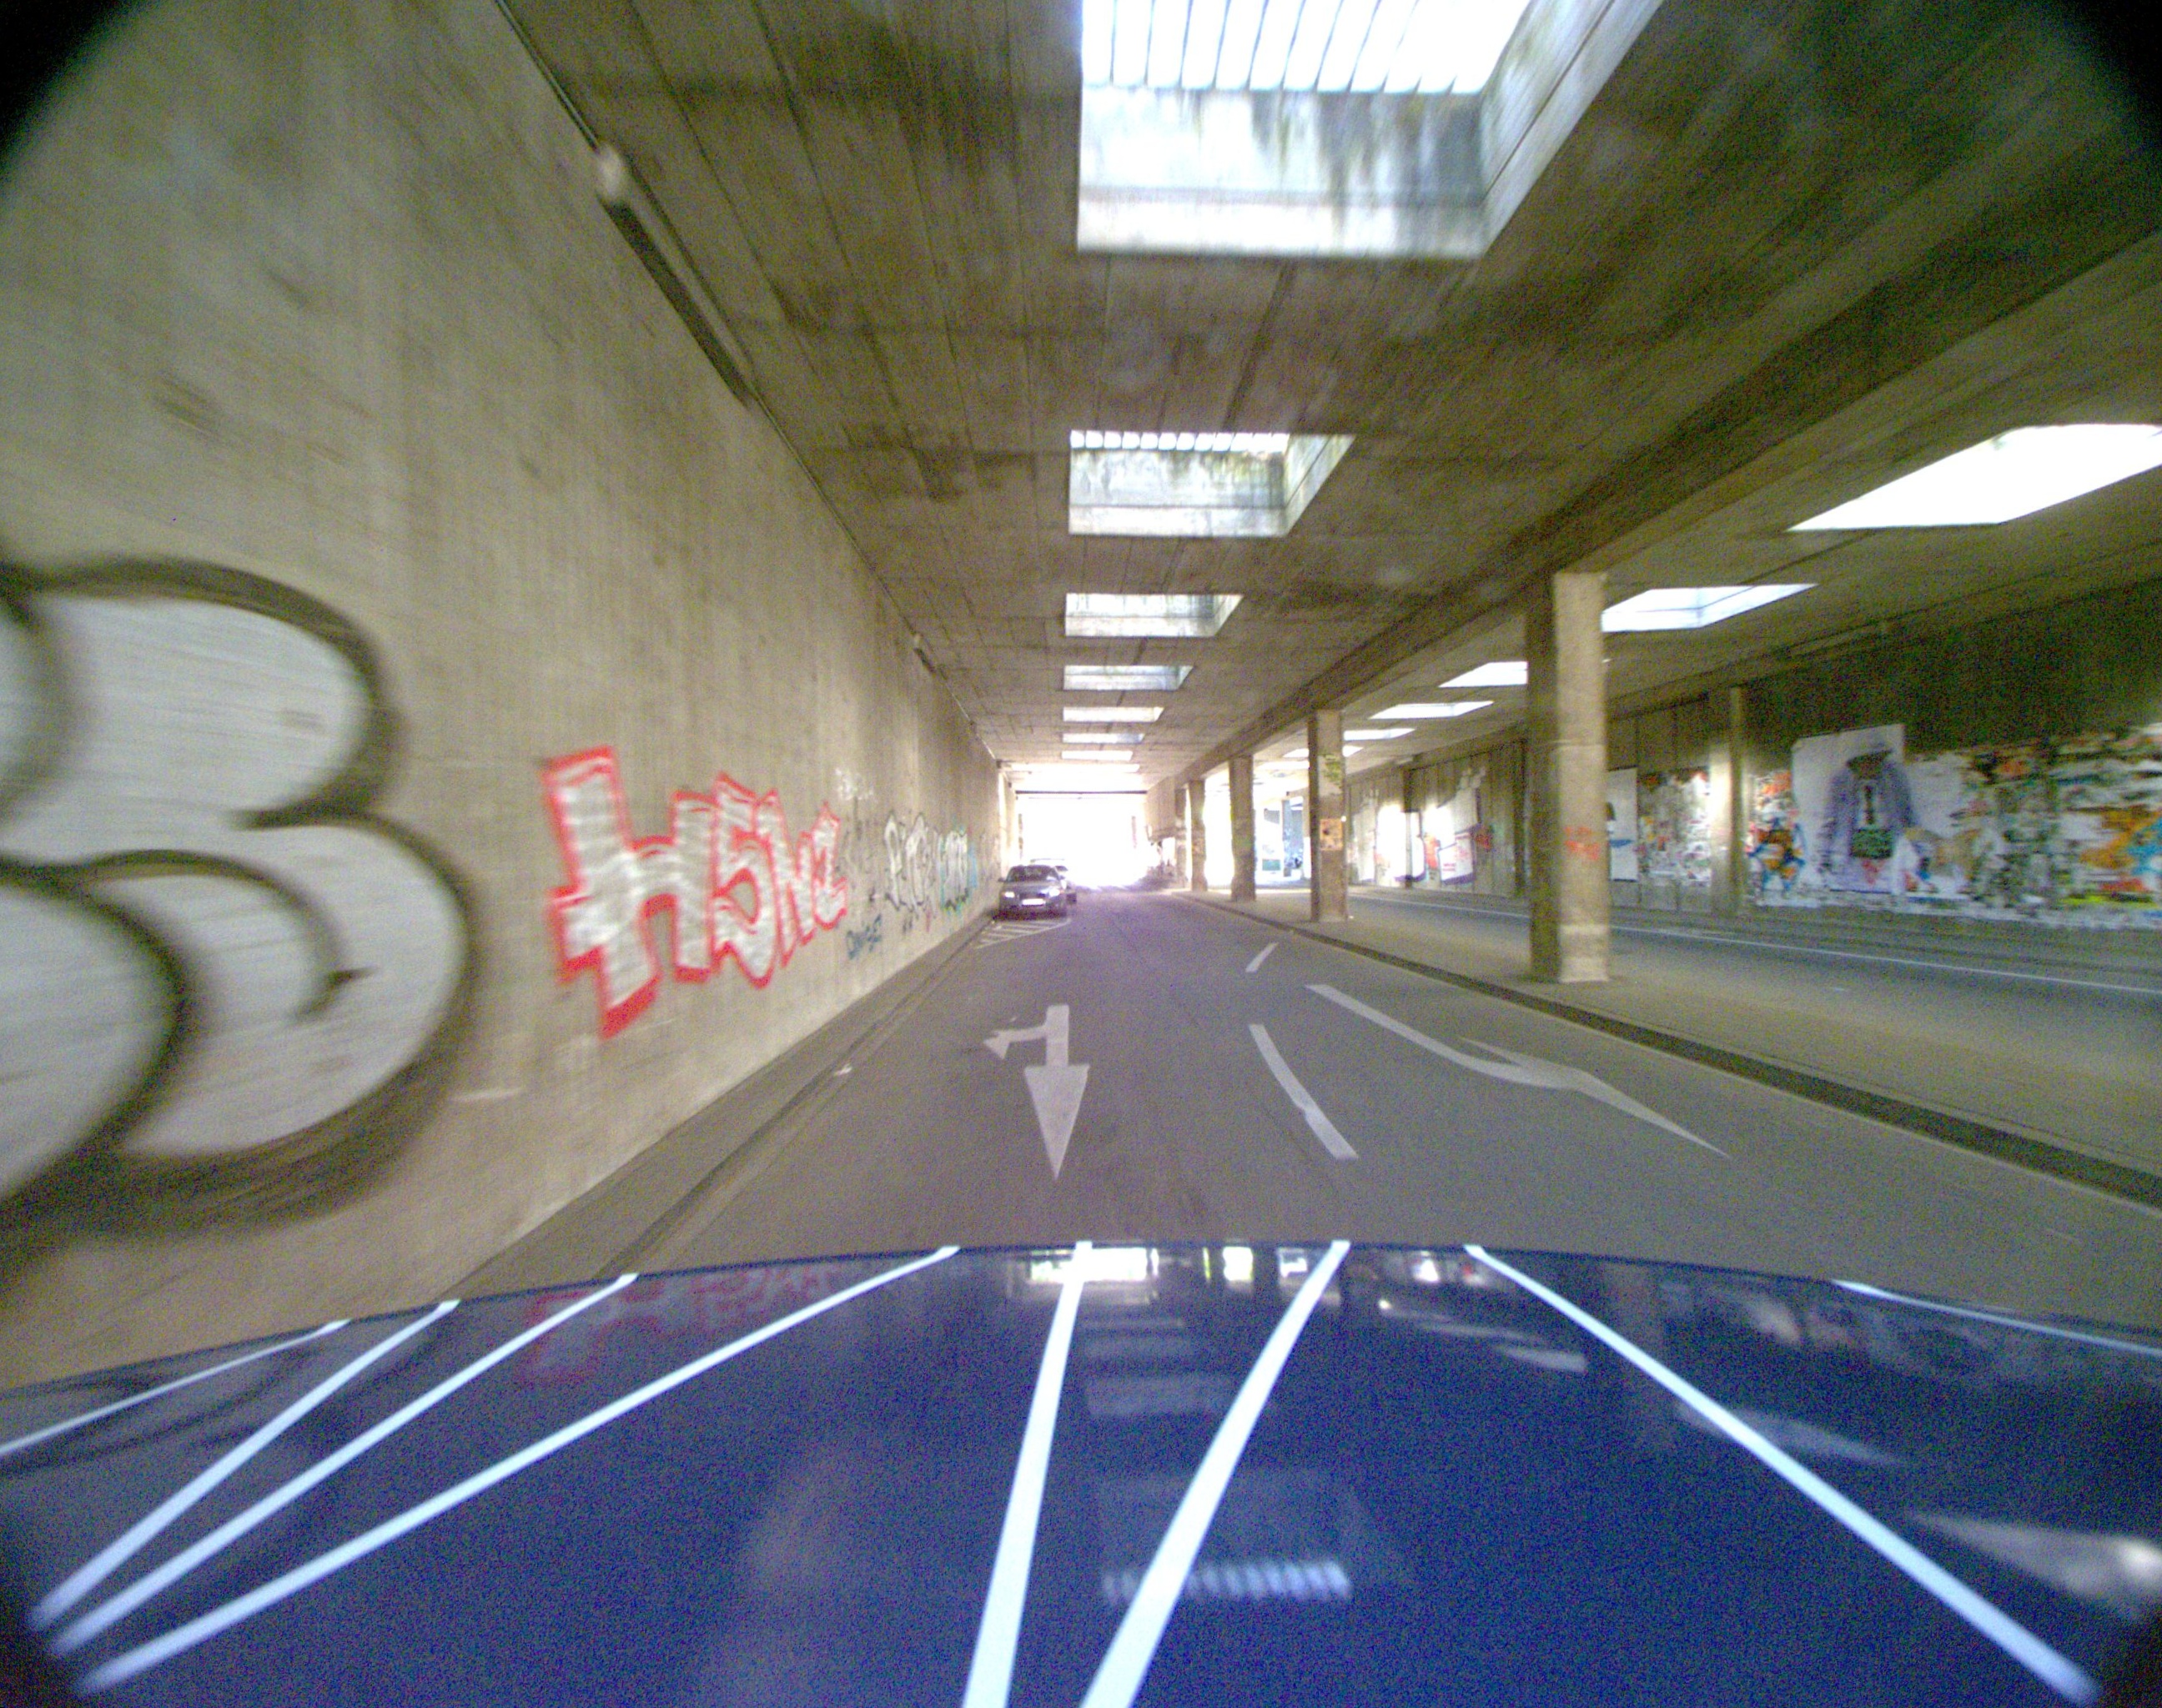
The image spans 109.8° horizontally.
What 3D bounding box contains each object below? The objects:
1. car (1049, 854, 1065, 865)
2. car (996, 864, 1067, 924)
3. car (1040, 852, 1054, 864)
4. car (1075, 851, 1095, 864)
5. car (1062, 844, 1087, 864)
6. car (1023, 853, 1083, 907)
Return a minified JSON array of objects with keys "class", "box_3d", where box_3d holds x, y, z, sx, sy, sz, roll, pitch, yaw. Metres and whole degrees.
[{"class":"car","box_3d":[-3.542,0.796,112.139,1.696,1.548,3.818,-2,1,-11]},{"class":"car","box_3d":[-1.307,1.014,20.930,1.706,1.366,4.372,-2,0,-2]},{"class":"car","box_3d":[-5.719,0.676,127.269,1.777,1.871,3.996,-2,0,-10]},{"class":"car","box_3d":[0.479,0.422,94.865,1.693,1.454,3.996,-2,1,-11]},{"class":"car","box_3d":[-0.856,0.005,100.525,2.221,2.437,5.089,-2,1,-13]},{"class":"car","box_3d":[-0.994,0.852,26.691,1.858,1.656,4.370,-2,0,-2]}]
